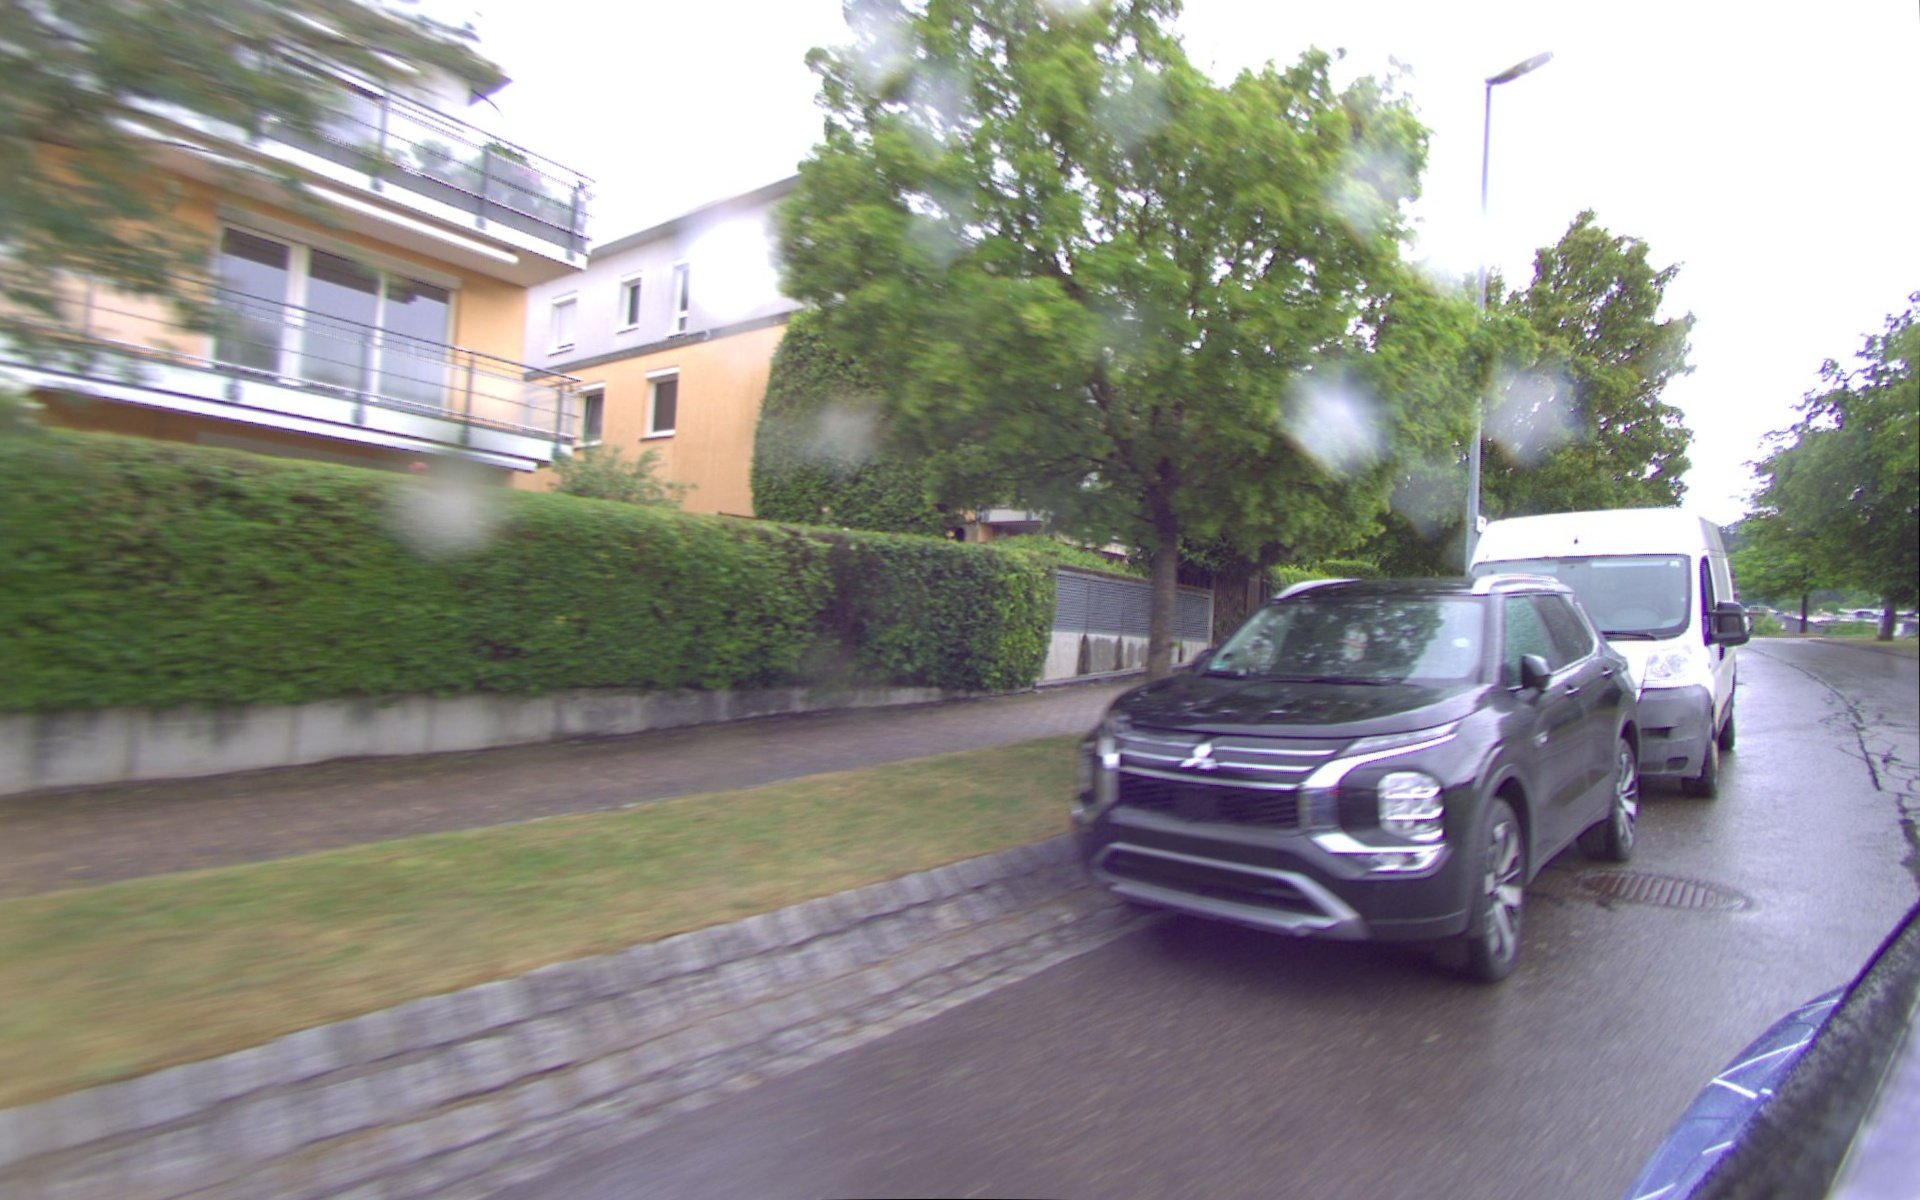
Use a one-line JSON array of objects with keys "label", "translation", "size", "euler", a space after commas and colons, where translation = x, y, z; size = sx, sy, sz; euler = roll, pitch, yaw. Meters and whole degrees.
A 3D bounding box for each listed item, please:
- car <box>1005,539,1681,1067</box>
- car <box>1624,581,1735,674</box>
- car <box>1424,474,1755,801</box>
[{"label": "car", "translation": [2.453, 0.646, 5.631], "size": [1.812, 1.748, 4.577], "euler": [0, 0, 45]}, {"label": "car", "translation": [15.563, 0.507, 21.910], "size": [1.814, 1.807, 3.770], "euler": [0, 1, 36]}, {"label": "car", "translation": [6.453, 0.277, 10.018], "size": [2.045, 2.361, 5.328], "euler": [0, 0, 40]}]
